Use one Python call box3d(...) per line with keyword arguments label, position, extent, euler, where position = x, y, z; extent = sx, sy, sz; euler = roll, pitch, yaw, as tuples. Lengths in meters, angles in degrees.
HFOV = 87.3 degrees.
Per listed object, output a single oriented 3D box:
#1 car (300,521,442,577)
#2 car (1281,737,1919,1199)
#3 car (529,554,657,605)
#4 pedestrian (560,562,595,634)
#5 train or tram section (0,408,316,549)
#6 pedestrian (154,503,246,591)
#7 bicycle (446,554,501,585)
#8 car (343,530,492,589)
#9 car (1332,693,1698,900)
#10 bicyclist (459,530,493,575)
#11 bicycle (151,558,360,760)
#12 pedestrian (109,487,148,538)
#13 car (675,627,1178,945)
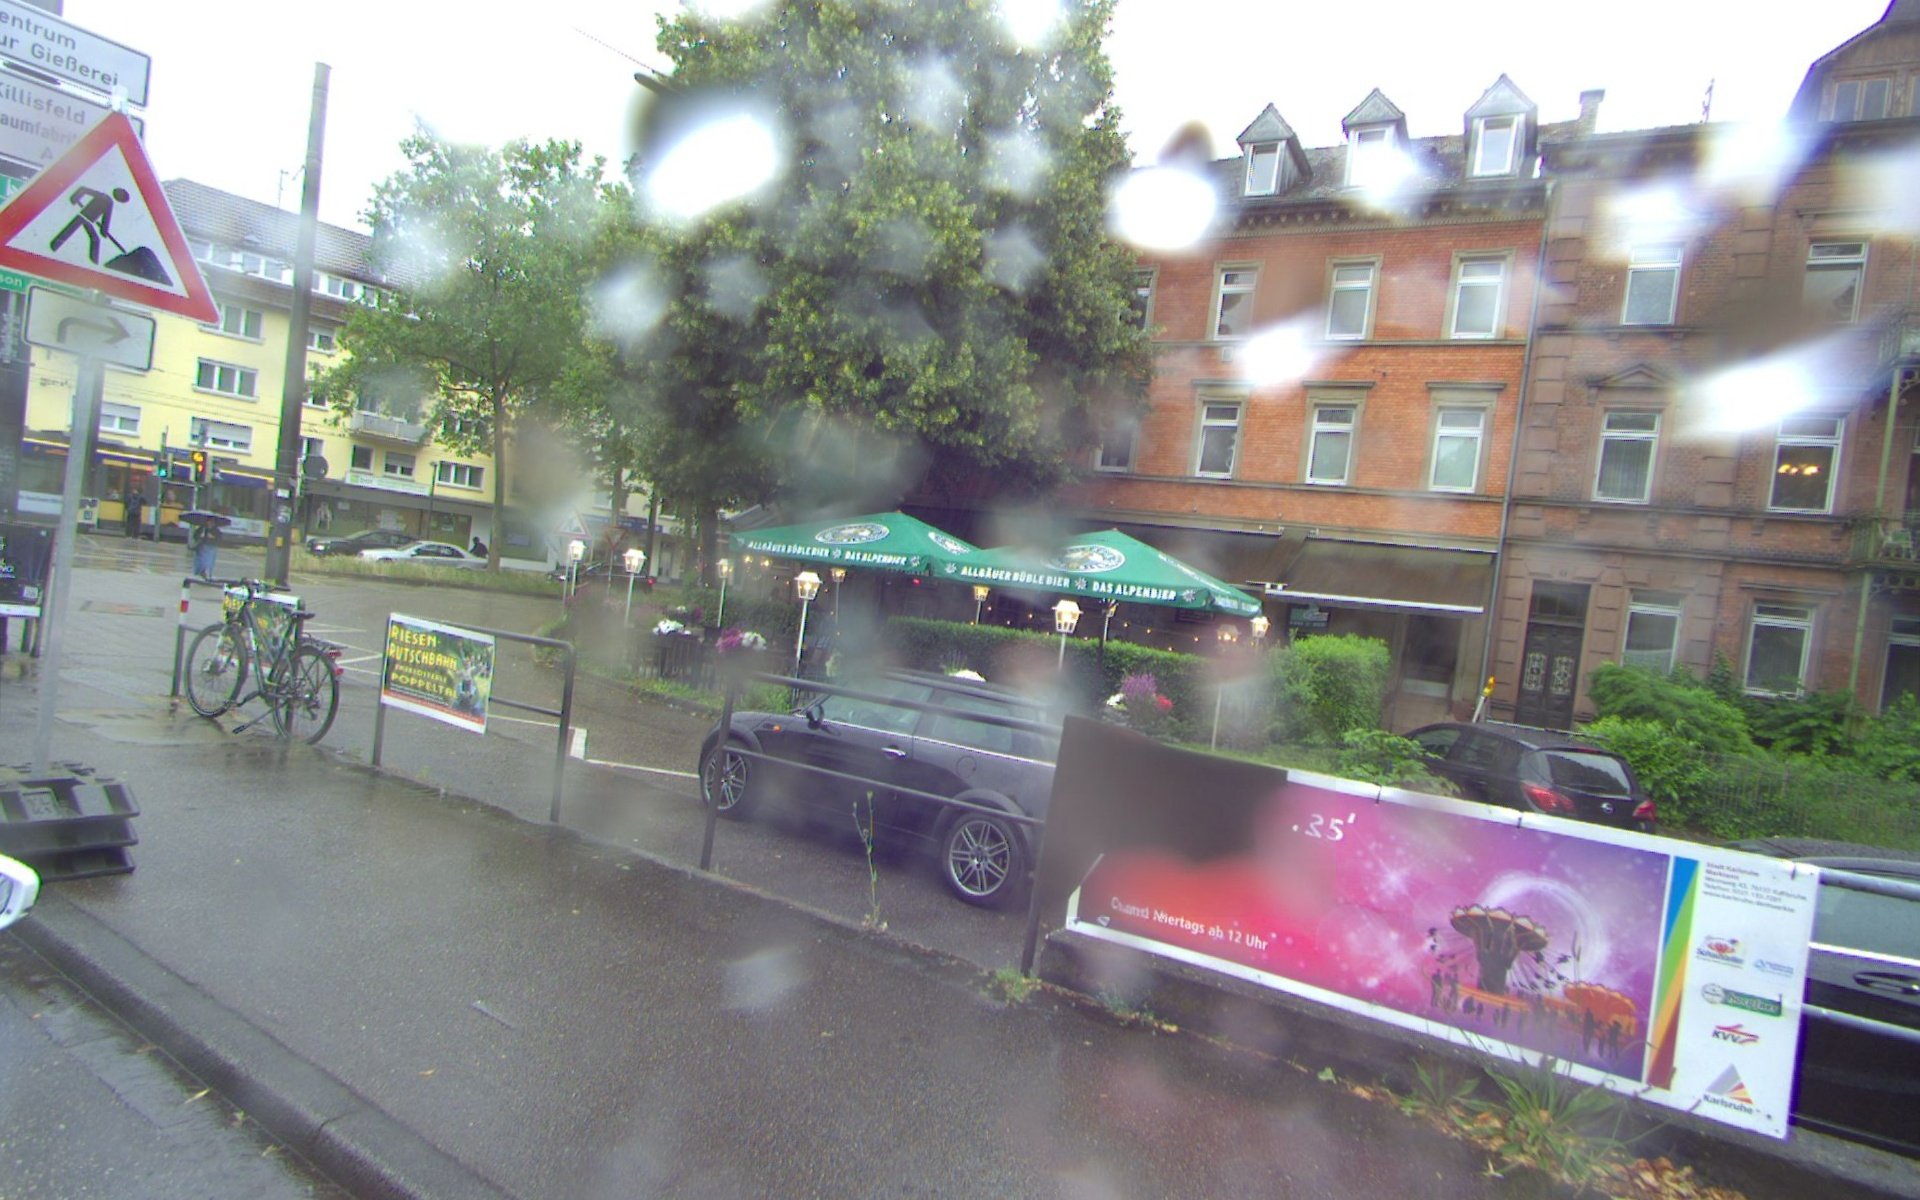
box3d(label="car", position=(-22.598, -1.936, 38.720), extent=(1.853, 1.520, 4.264), euler=(8, 1, 40))
box3d(label="car", position=(3.999, 1.831, 4.996), extent=(4.146, 1.481, 1.749), euler=(8, 0, 32))
box3d(label="car", position=(-15.407, -0.842, 42.405), extent=(4.612, 1.504, 1.838), euler=(7, 1, -45))
box3d(label="pedestrian", position=(-9.150, -0.044, 24.069), extent=(0.382, 1.667, 0.549), euler=(8, 3, 33))
box3d(label="train or tram section", position=(-31.857, -4.550, 36.421), extent=(3.061, 3.602, 14.660), euler=(8, 0, 26))
box3d(label="pedestrian", position=(-16.206, -1.113, 21.482), extent=(1.089, 1.687, 0.994), euler=(8, 0, -15))
box3d(label="bicycle", position=(-20.296, -1.267, 41.996), extent=(0.710, 1.044, 1.808), euler=(8, -1, 42))
box3d(label="car", position=(-19.940, -1.466, 37.107), extent=(1.717, 1.508, 4.474), euler=(9, 1, 45))
box3d(label="car", position=(6.404, 2.197, 12.238), extent=(1.828, 1.526, 3.997), euler=(8, -1, -5))
box3d(label="bicyclist", position=(-20.187, -1.989, 41.987), extent=(0.704, 1.737, 0.886), euler=(8, 0, 42))
box3d(label="bicycle", position=(-5.178, 0.400, 7.354), extent=(1.762, 1.182, 0.423), euler=(8, -1, 30))
box3d(label="pedestrian", position=(-29.762, -3.121, 36.015), extent=(0.806, 1.698, 1.008), euler=(7, 1, -32))
box3d(label="car", position=(-0.328, 1.255, 7.848), extent=(3.459, 1.518, 1.649), euler=(8, -1, 34))
